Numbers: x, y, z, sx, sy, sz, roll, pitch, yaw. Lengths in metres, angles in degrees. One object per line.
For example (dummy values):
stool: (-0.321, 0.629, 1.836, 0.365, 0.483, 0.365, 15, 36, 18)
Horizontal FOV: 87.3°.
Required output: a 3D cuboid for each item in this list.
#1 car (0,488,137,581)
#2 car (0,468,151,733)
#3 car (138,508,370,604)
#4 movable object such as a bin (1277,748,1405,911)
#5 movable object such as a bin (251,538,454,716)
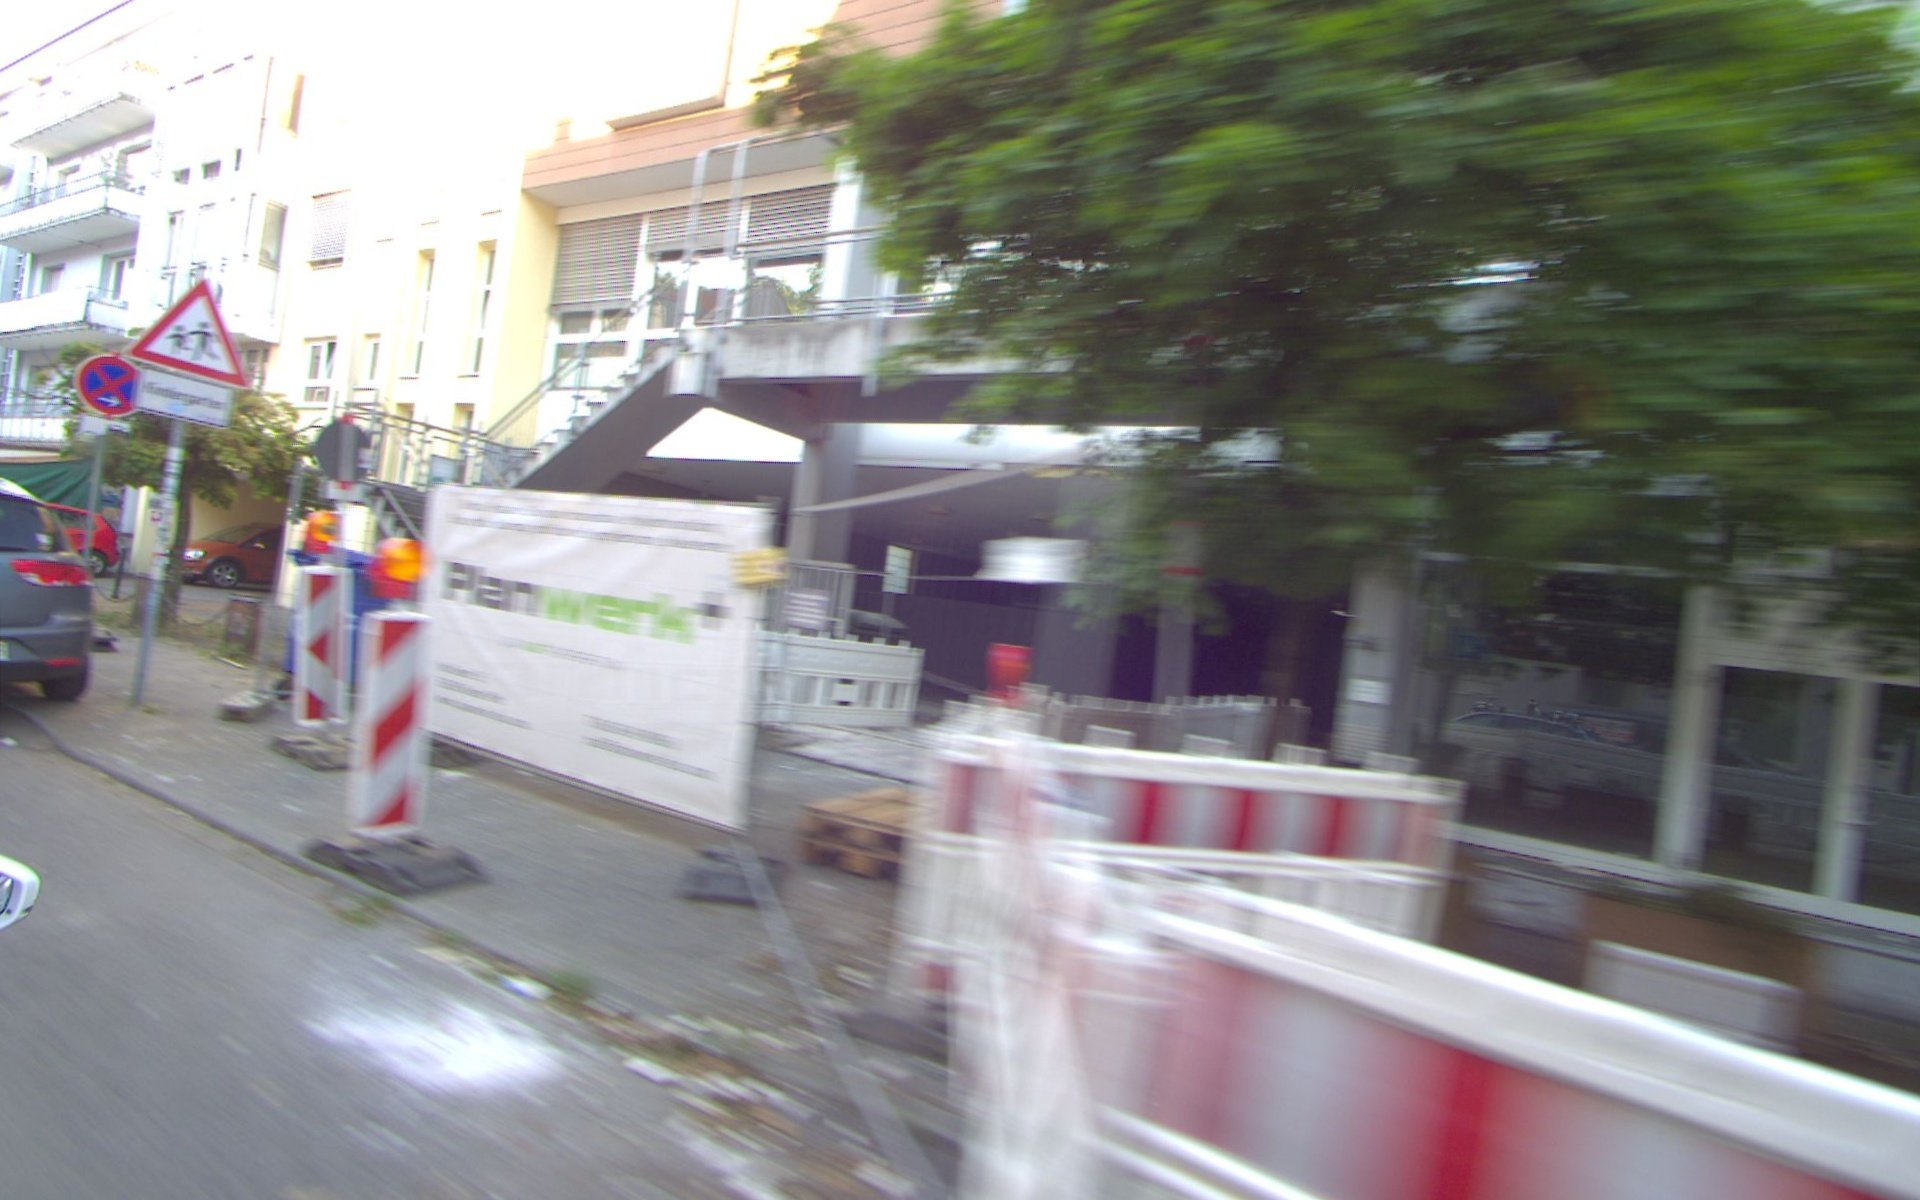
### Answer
car: (-20.417, -1.546, 21.487, 1.666, 1.625, 3.907, 7, -3, 30)
car: (-8.143, -0.232, 7.610, 4.452, 1.702, 1.752, 7, -2, 34)
car: (-17.286, -1.024, 24.847, 1.965, 1.678, 4.118, 7, -2, 28)
movable object such as a bin: (2.751, 1.620, 7.251, 0.700, 0.986, 0.558, 7, -2, 27)
movable object such as a bin: (-5.426, 0.267, 9.084, 0.787, 1.391, 1.257, 8, -2, 6)
